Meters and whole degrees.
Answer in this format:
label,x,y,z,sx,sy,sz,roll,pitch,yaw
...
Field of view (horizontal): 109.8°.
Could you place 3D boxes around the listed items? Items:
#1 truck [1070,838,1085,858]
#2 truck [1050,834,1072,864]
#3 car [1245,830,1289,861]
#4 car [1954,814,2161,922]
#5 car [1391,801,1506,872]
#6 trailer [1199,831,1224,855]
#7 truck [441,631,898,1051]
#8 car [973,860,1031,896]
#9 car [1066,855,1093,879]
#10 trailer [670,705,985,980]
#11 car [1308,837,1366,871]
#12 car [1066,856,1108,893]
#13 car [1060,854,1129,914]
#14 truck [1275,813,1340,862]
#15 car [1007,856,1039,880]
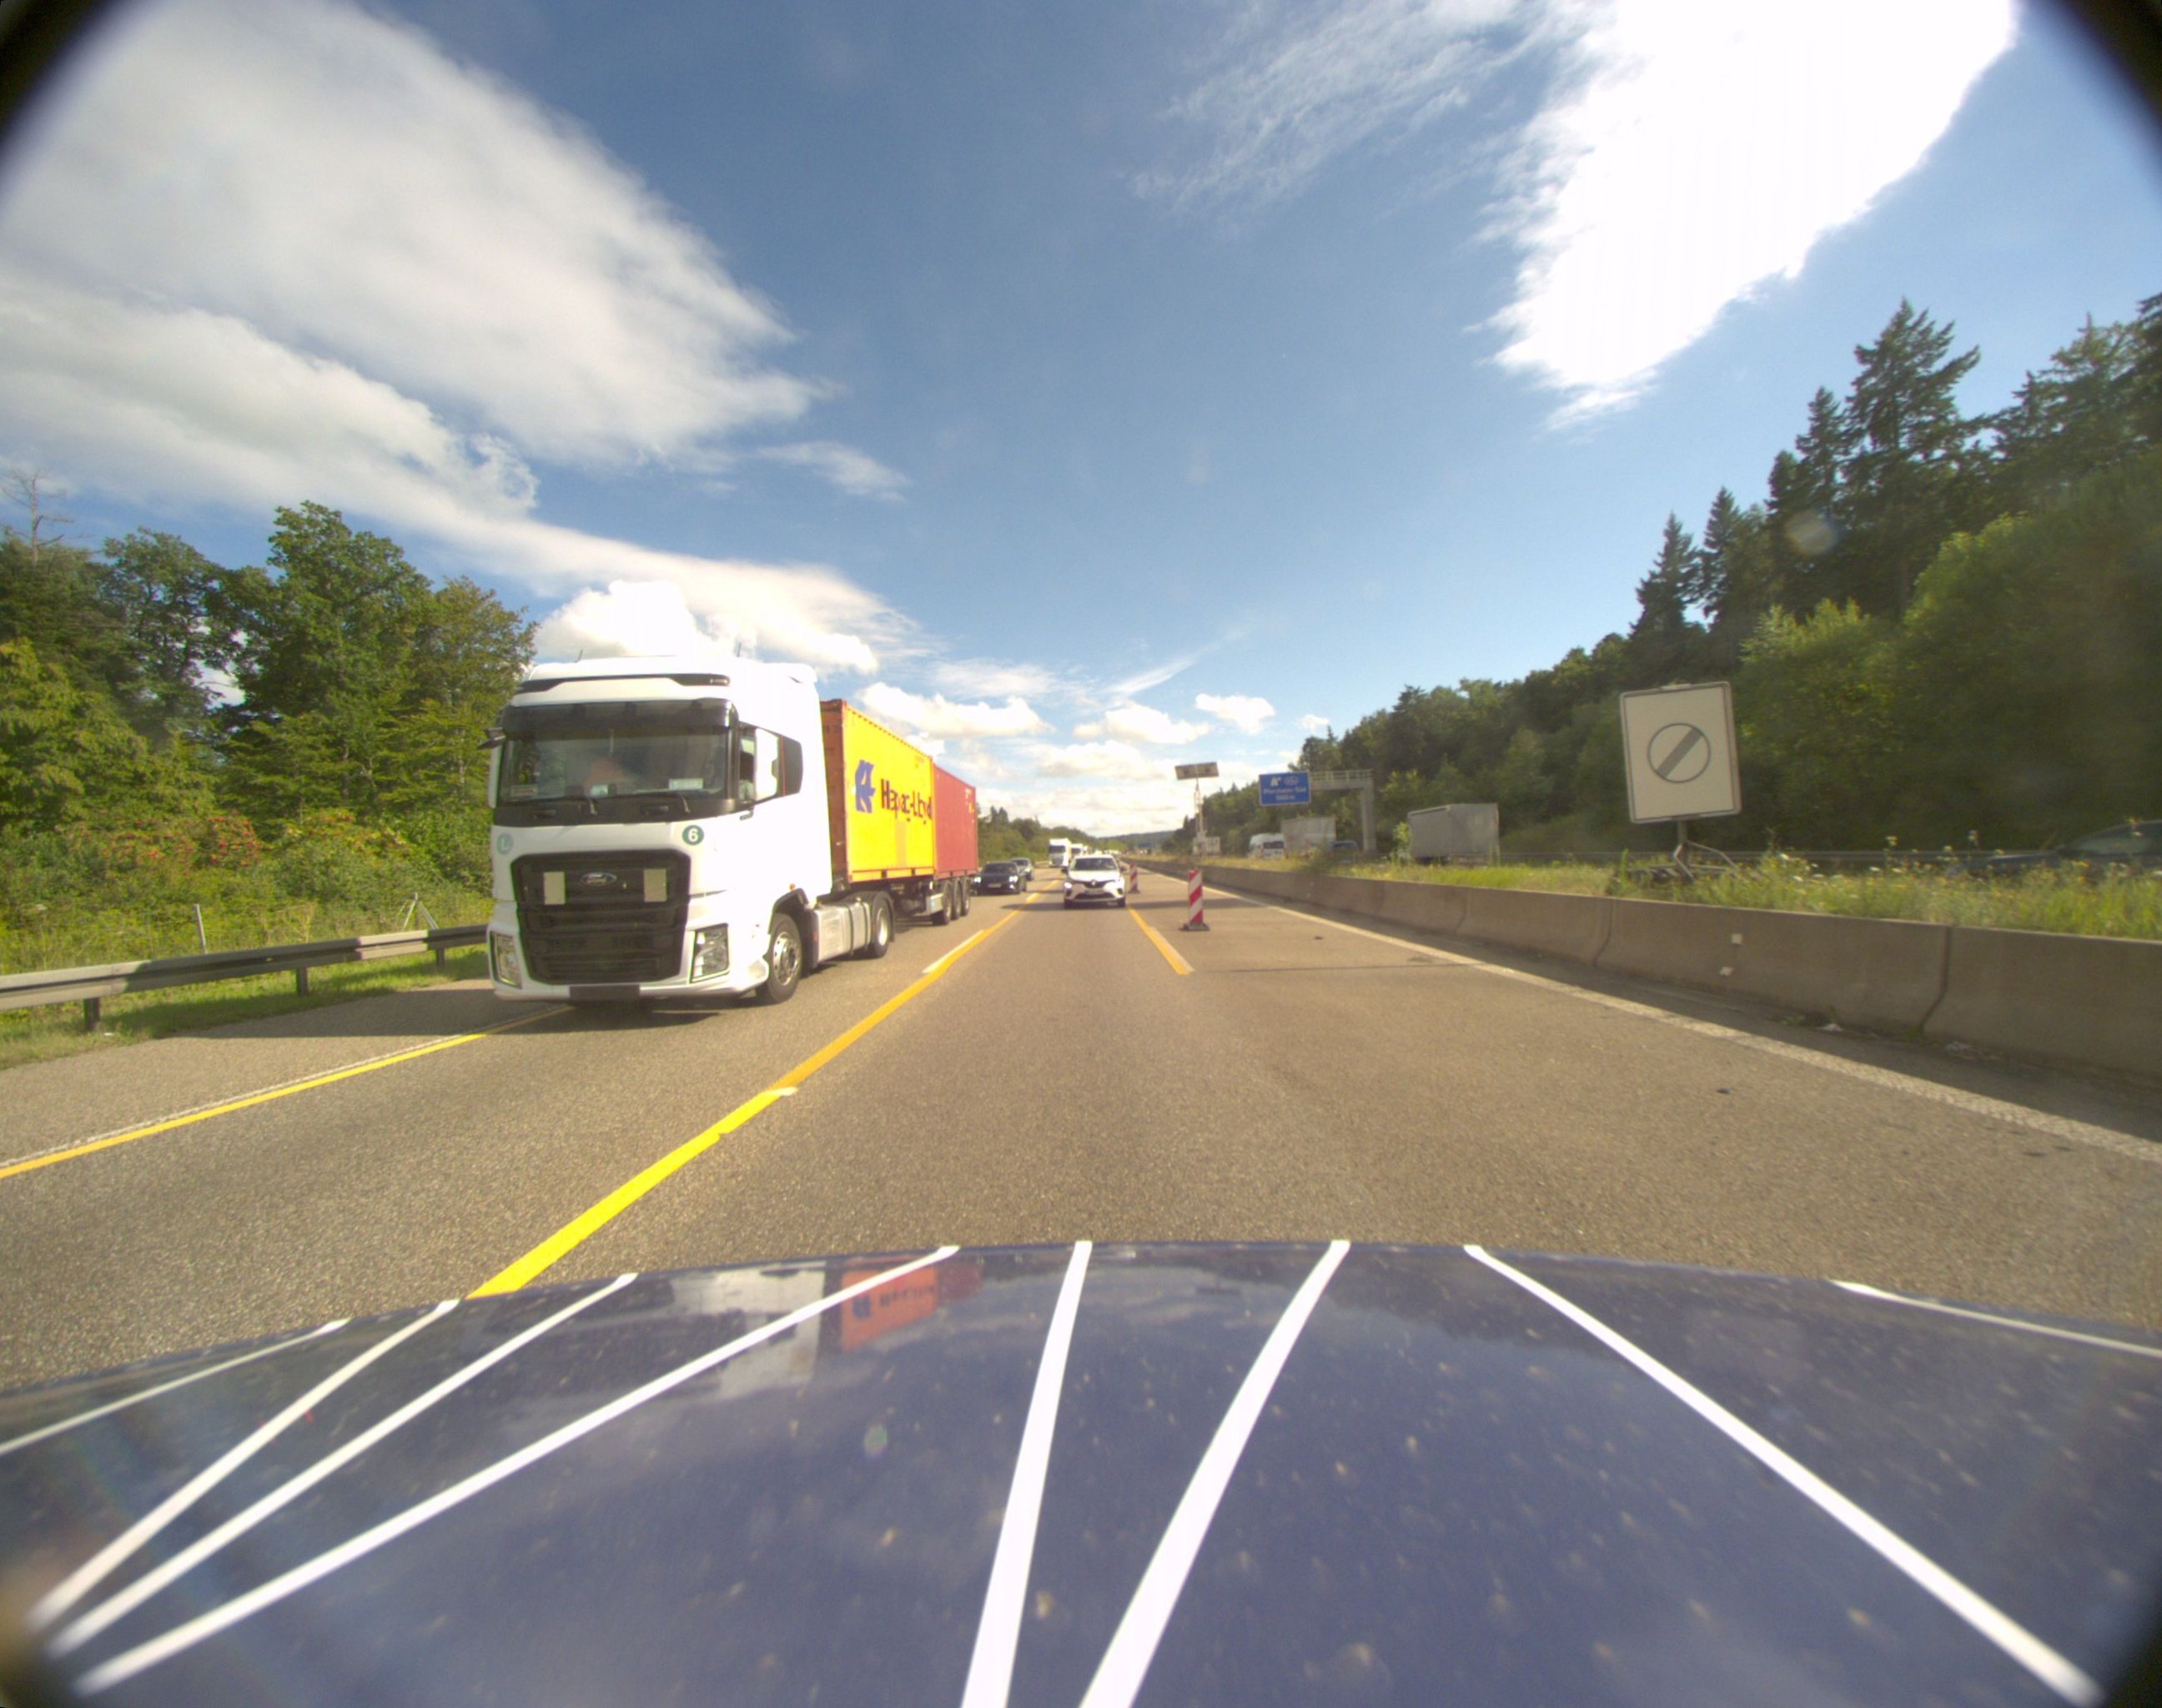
label,x,y,z,sx,sy,sz,roll,pitch,yaw
truck,-0.683,-1.209,159.203,2.640,4.092,8.197,-2,0,3
truck,-2.772,-0.684,108.903,2.641,4.092,8.195,-2,0,1
car,15.752,-0.689,64.639,2.165,2.437,6.331,-2,0,1
car,14.919,0.155,10.061,1.783,1.379,4.310,-2,1,1
car,19.472,-0.907,40.802,2.493,3.351,7.451,-2,1,0
trailer,22.129,-1.821,128.982,2.797,3.901,8.487,-2,1,1
truck,-4.455,-0.128,9.843,2.501,3.759,5.789,-2,1,1
car,-3.351,0.997,33.182,1.933,1.342,4.477,-2,0,1
car,-0.079,0.846,52.128,1.633,1.548,3.754,-2,0,2
trailer,-4.311,-0.182,16.696,2.477,3.753,12.135,-2,0,1
car,14.602,-0.023,43.556,1.949,1.802,4.118,-2,1,1
car,0.283,0.873,33.748,1.692,1.471,3.754,-2,1,1
car,0.375,0.822,22.949,1.840,1.528,3.882,-2,1,0
truck,20.063,-1.377,68.133,2.807,3.969,10.185,-2,0,1
car,-3.924,0.916,51.883,1.762,1.471,3.967,-2,1,1
